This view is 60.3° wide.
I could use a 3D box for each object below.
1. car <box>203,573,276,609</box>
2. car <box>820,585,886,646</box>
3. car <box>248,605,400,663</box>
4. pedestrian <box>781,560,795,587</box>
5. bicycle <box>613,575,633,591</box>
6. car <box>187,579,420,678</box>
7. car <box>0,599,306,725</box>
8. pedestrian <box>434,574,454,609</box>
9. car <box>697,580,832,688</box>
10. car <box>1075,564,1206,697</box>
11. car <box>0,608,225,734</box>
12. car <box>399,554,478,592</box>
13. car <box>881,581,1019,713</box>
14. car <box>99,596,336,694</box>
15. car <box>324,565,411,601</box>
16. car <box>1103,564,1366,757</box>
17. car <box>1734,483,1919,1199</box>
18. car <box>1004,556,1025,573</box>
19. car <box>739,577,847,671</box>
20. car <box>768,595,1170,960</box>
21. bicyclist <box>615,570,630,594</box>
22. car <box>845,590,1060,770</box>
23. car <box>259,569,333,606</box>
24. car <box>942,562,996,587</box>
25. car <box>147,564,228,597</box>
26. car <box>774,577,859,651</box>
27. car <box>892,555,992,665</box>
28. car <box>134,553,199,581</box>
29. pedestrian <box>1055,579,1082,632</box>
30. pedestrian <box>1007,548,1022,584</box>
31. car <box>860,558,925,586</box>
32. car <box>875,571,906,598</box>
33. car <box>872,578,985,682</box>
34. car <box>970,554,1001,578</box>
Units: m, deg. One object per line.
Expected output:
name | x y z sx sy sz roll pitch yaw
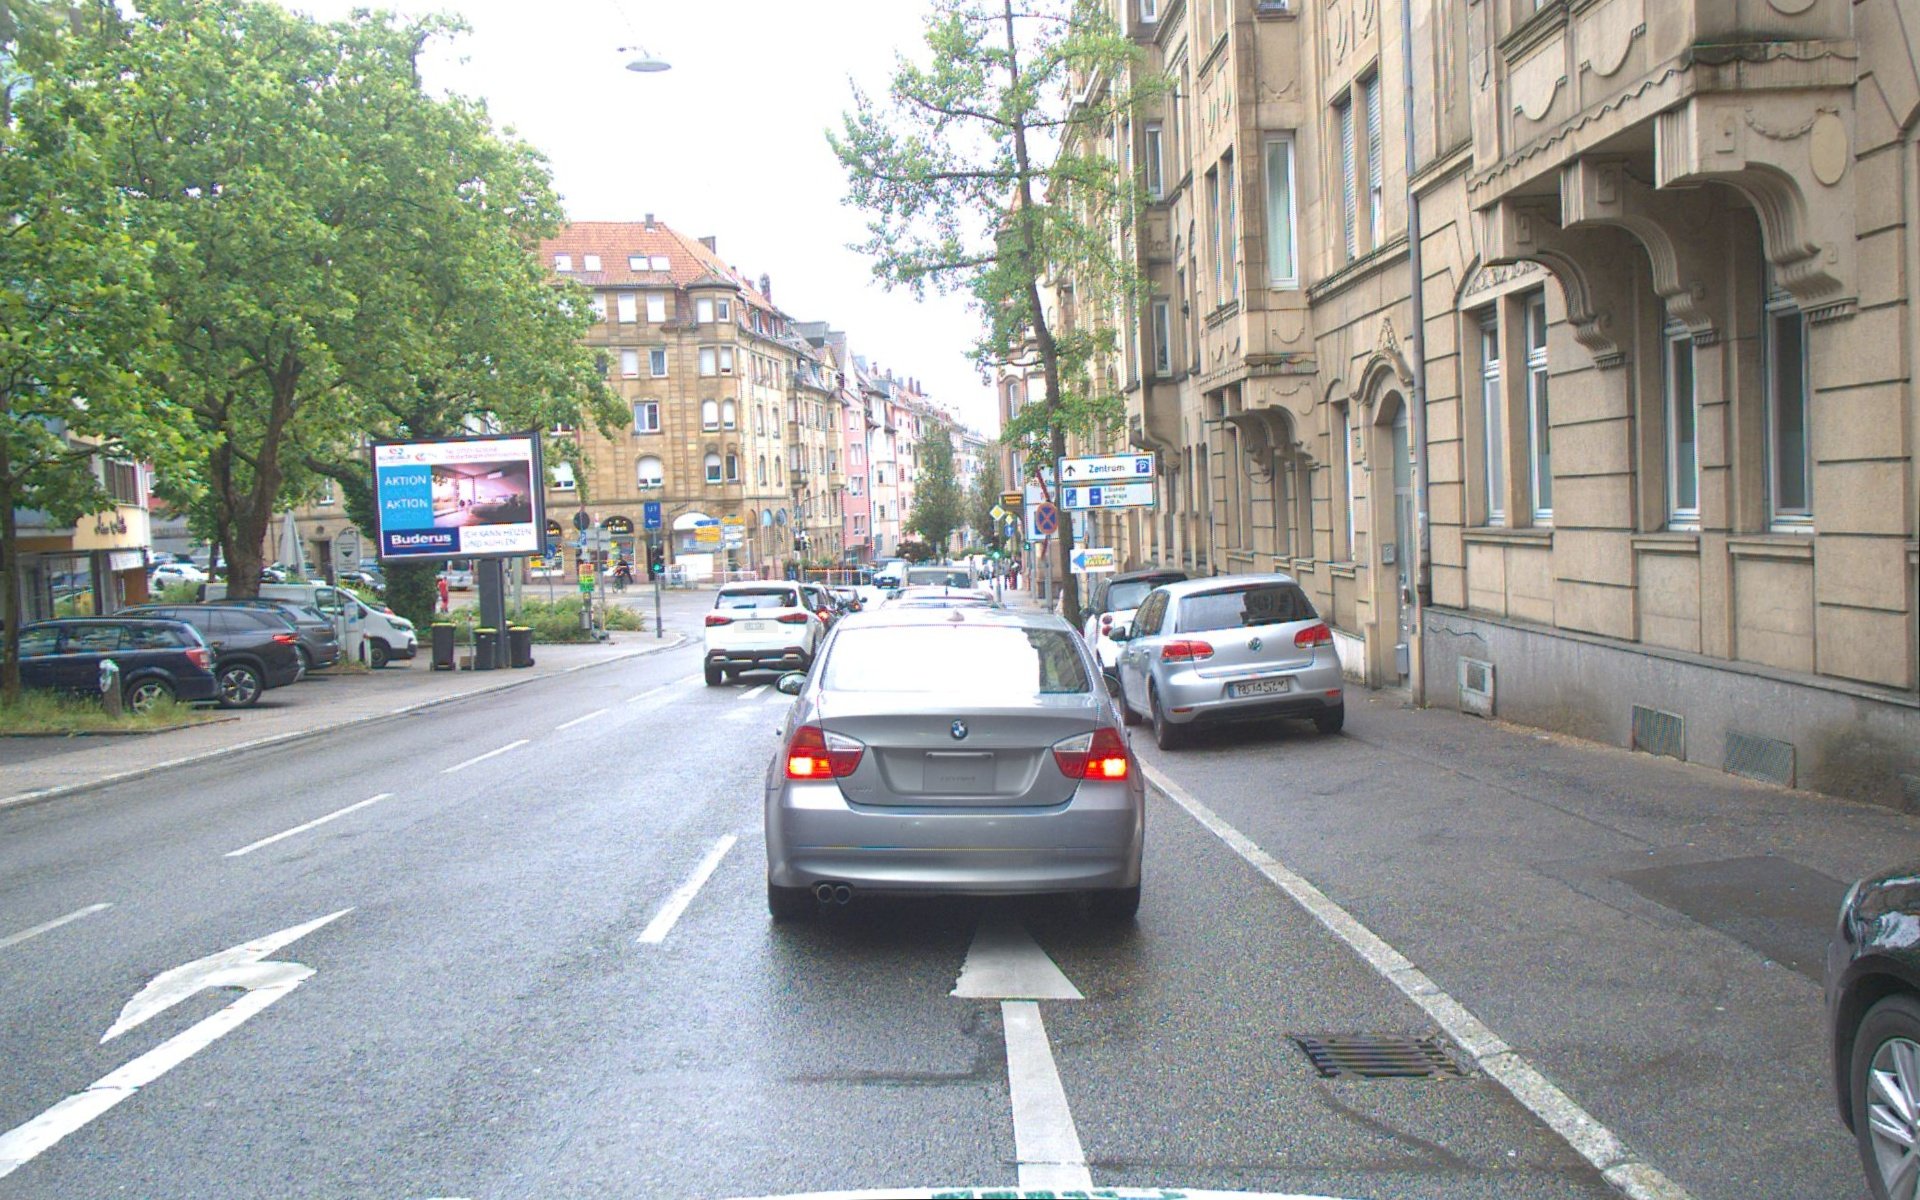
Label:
car | -45.409 -0.580 104.233 4.196 2.138 1.998 2 2 28
car | -3.227 0.440 50.709 1.723 1.737 4.000 -1 1 0
car | -17.960 0.929 46.782 3.916 1.476 1.757 -2 0 -22
pedestrian | -10.501 -1.614 100.992 0.716 1.605 0.528 -2 0 8
bicycle | -19.009 -0.954 93.388 0.561 0.873 1.523 1 0 11
car | -15.499 0.642 39.247 4.989 2.142 1.979 -2 0 -22
car | -12.914 0.940 26.662 4.308 1.701 1.842 -3 1 -24
pedestrian | -24.072 -0.407 77.123 0.525 1.604 0.720 -4 1 9
car | -3.181 0.502 27.625 1.830 1.654 3.999 -1 0 -1
car | 2.414 0.374 22.701 1.273 1.569 2.975 -6 1 -1
car | -13.043 1.023 23.908 4.299 1.601 1.929 -3 1 -24
car | -30.360 -1.591 96.254 4.196 2.138 1.998 2 2 28
car | -0.099 0.511 20.822 1.562 1.490 4.000 0 1 0
car | -15.162 0.884 34.031 4.295 1.815 1.927 -2 0 -22
car | -30.828 -0.908 86.043 4.157 1.756 1.997 1 2 30
car | 2.549 0.503 16.288 1.725 1.476 3.999 -6 1 -1
car | 2.814 0.530 1.959 1.724 1.679 4.098 -6 1 0
car | 4.212 -2.760 127.969 1.405 1.195 3.433 1 0 -2
car | -3.283 0.429 33.179 1.723 1.737 4.000 -1 1 0
car | 0.048 0.703 8.416 1.590 1.407 3.615 -1 1 0
bicyclist | -19.031 -1.013 93.293 0.556 1.295 0.690 1 -1 11
car | -0.050 0.632 15.362 1.723 1.407 4.000 -1 1 0
car | -40.865 -0.774 101.845 4.196 2.138 1.998 2 2 28
car | 0.632 -1.751 113.844 1.957 1.606 3.991 1 0 31
car | -43.409 -1.092 92.926 4.155 1.756 1.998 0 3 29
car | -3.500 0.313 41.060 1.723 1.737 4.000 -1 1 0
car | -0.380 0.193 34.513 1.953 2.143 3.999 0 0 -1
car | -51.146 -2.132 106.653 3.909 1.718 1.726 1 0 27
pedestrian | 3.249 0.165 49.687 0.618 1.534 0.693 -6 0 -2
pedestrian | 2.910 -1.823 88.743 0.727 1.943 0.659 -2 0 -2
car | -5.272 -2.216 129.838 5.072 2.049 2.698 1 0 -1
car | -4.056 -0.896 96.813 1.680 1.476 3.741 -2 0 -1
car | -0.477 0.438 27.687 1.723 1.594 4.000 -1 1 0
car | 1.887 -2.472 120.864 1.951 1.606 4.002 1 0 5
